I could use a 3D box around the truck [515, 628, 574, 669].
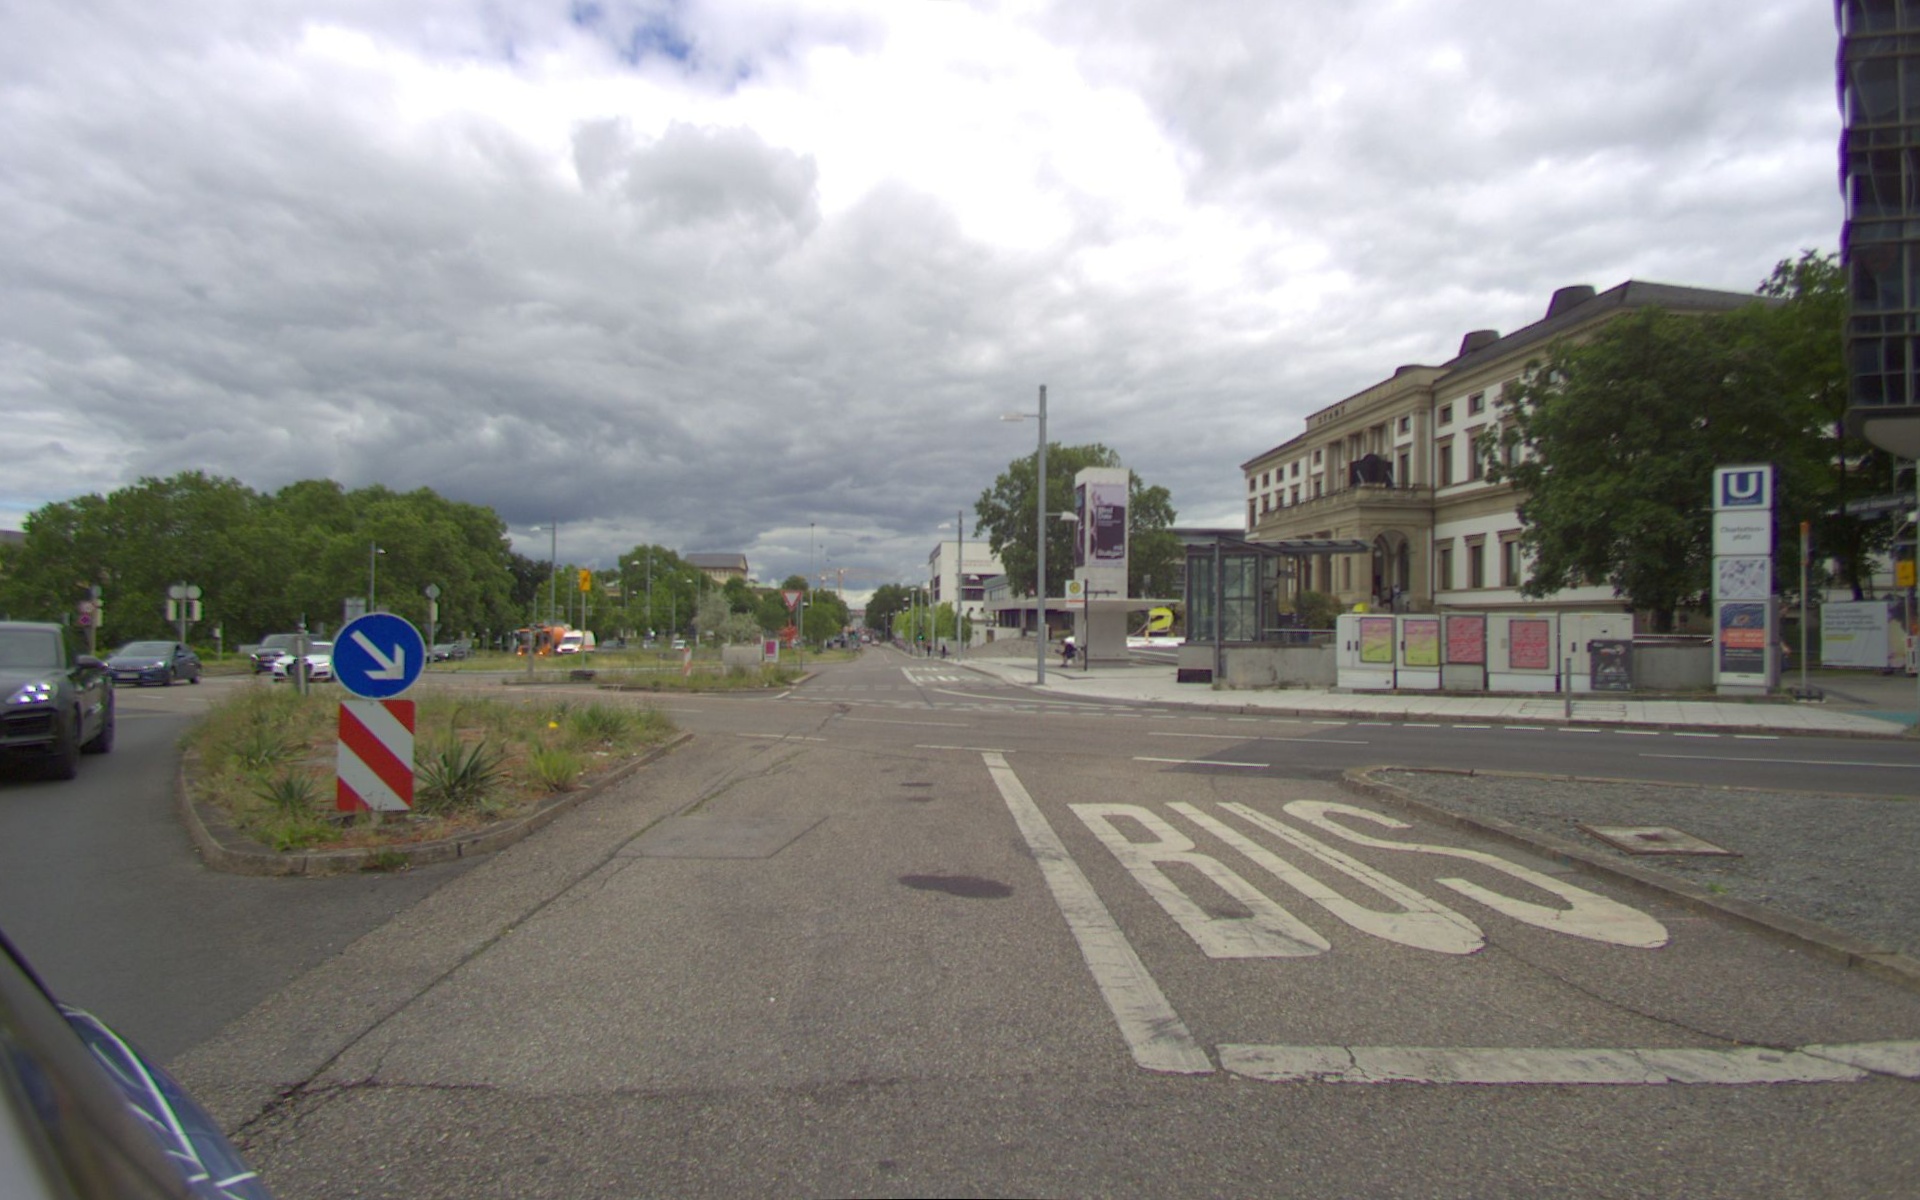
[{"bbox_3d":[-39.217,4.574,95.795,2.686,3.644,9.190,0,-3,-6],"label":"truck"}]

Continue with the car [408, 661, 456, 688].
[{"bbox_3d":[-37.134,5.224,71.284,1.831,1.752,3.745,0,-3,-7],"label":"car"}]

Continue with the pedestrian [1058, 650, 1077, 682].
[{"bbox_3d":[4.527,2.776,42.684,0.696,1.363,0.760,-1,-3,1],"label":"pedestrian"}]

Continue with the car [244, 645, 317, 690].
[{"bbox_3d":[-31.816,3.131,47.529,1.828,2.003,4.656,2,-3,-21],"label":"car"}]

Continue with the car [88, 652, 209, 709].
[{"bbox_3d":[-26.147,2.549,32.777,1.965,1.614,4.013,0,-2,-22],"label":"car"}]

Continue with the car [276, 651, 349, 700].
[{"bbox_3d":[-23.848,2.738,37.423,2.061,1.621,4.425,1,-3,-30],"label":"car"}]

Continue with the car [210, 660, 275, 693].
[{"bbox_3d":[-39.915,4.233,56.393,1.965,1.691,4.012,0,-3,-20],"label":"car"}]

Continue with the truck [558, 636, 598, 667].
[{"bbox_3d":[-35.658,4.808,94.619,1.927,2.805,5.794,0,-3,-4],"label":"truck"}]

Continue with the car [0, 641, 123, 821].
[{"bbox_3d":[-10.761,1.292,11.134,1.973,1.651,5.033,1,-2,-35],"label":"car"}]

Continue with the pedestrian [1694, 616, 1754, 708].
[{"bbox_3d":[14.326,1.143,18.987,0.783,1.643,0.600,1,3,29],"label":"pedestrian"}]
